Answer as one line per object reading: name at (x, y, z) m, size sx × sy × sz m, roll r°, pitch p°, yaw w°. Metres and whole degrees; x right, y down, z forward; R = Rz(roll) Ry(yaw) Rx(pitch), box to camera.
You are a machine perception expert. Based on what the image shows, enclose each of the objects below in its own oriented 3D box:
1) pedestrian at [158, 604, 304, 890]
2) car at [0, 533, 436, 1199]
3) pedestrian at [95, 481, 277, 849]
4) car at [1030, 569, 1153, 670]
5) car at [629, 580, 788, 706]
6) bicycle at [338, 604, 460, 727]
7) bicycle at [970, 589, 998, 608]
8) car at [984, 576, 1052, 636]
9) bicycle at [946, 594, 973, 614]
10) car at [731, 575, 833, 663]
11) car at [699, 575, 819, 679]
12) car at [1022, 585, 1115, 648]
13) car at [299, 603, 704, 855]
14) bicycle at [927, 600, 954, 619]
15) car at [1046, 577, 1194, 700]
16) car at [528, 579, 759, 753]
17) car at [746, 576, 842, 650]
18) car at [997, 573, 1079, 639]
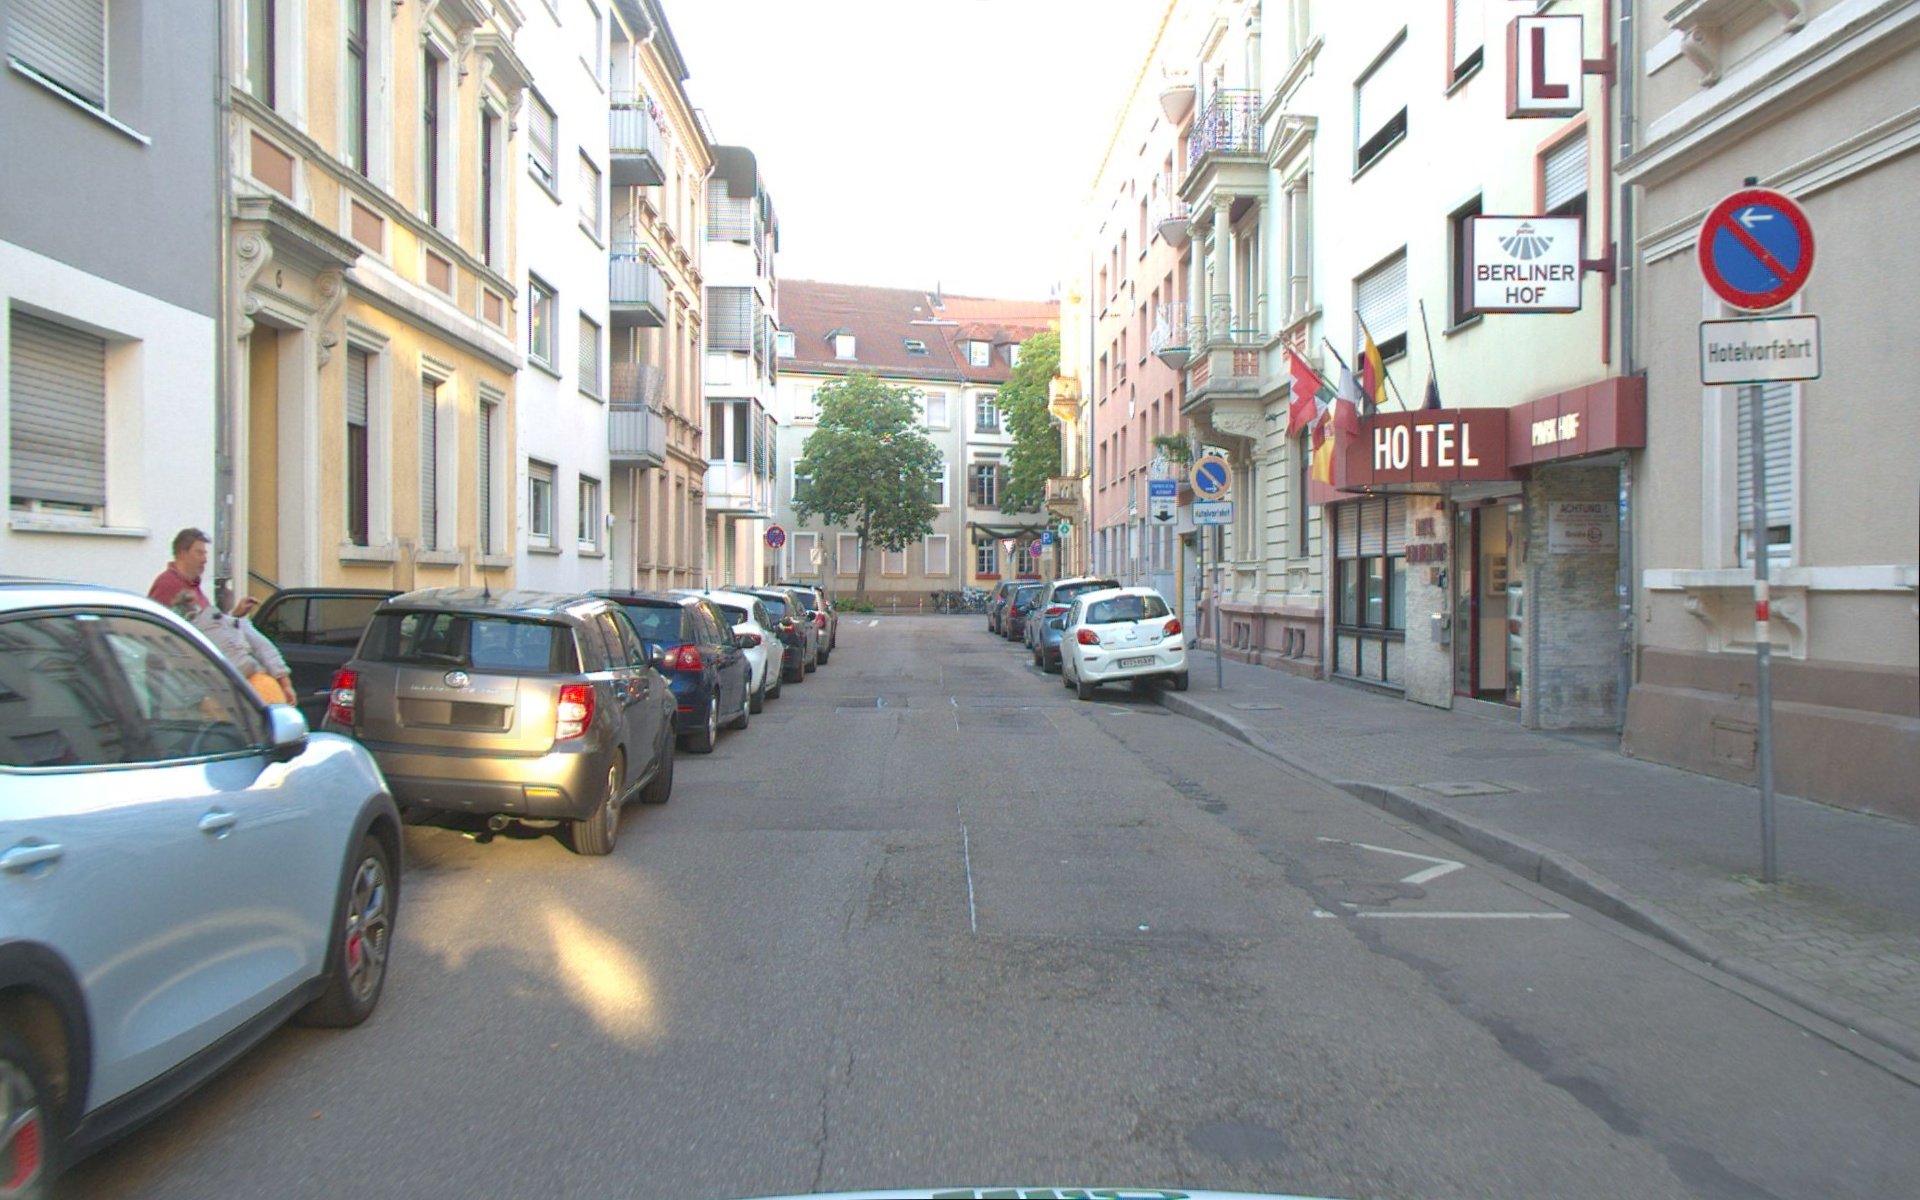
pedestrian at (-3.895, 0.745, 8.822) m, size 0.653 × 1.435 × 0.666 m, roll 0°, pitch 0°, yaw -29°
car at (-2.844, 0.629, 4.629) m, size 1.729 × 1.591 × 4.362 m, roll -1°, pitch 2°, yaw -6°
pedestrian at (-4.501, 0.357, 9.676) m, size 0.783 × 2.049 × 0.773 m, roll 0°, pitch 0°, yaw -12°
car at (2.399, 0.325, 31.111) m, size 1.953 × 1.762 × 4.059 m, roll 0°, pitch 1°, yaw -1°
car at (-3.246, 0.497, 21.919) m, size 1.597 × 1.498 × 3.754 m, roll 0°, pitch 1°, yaw -1°
bicycle at (-5.678, 0.631, 16.859) m, size 0.523 × 1.138 × 2.130 m, roll 0°, pitch 1°, yaw 0°
bicycle at (1.205, -0.086, 82.832) m, size 0.513 × 0.965 × 1.705 m, roll -1°, pitch 1°, yaw -34°
car at (1.781, 0.151, 51.706) m, size 1.953 × 1.792 × 4.000 m, roll -1°, pitch 1°, yaw 0°
bicycle at (-0.020, 0.182, 82.197) m, size 0.513 × 0.910 × 1.705 m, roll -2°, pitch 4°, yaw -34°
car at (-3.596, 0.338, 34.043) m, size 1.954 × 1.695 × 4.405 m, roll 0°, pitch 1°, yaw -5°
car at (-3.319, 0.389, 27.966) m, size 1.582 × 1.597 × 4.303 m, roll 0°, pitch 1°, yaw -1°
car at (2.548, 0.364, 39.558) m, size 1.953 × 1.408 × 3.706 m, roll -1°, pitch 1°, yaw 0°
car at (-2.810, 0.704, 11.068) m, size 1.649 × 1.355 × 4.130 m, roll 0°, pitch 0°, yaw -2°
bicycle at (-0.973, 0.469, 83.626) m, size 0.513 × 0.965 × 1.705 m, roll 0°, pitch 0°, yaw -34°
car at (2.301, 0.503, 24.643) m, size 1.629 × 1.483 × 3.758 m, roll -6°, pitch 1°, yaw -1°
car at (-3.098, 0.573, 16.896) m, size 1.693 × 1.535 × 3.830 m, roll 0°, pitch 1°, yaw -1°
car at (-3.983, 0.283, 40.284) m, size 1.953 × 1.691 × 3.977 m, roll -1°, pitch 1°, yaw 0°
car at (2.152, 0.137, 46.684) m, size 1.953 × 1.738 × 3.998 m, roll -1°, pitch 1°, yaw -2°
